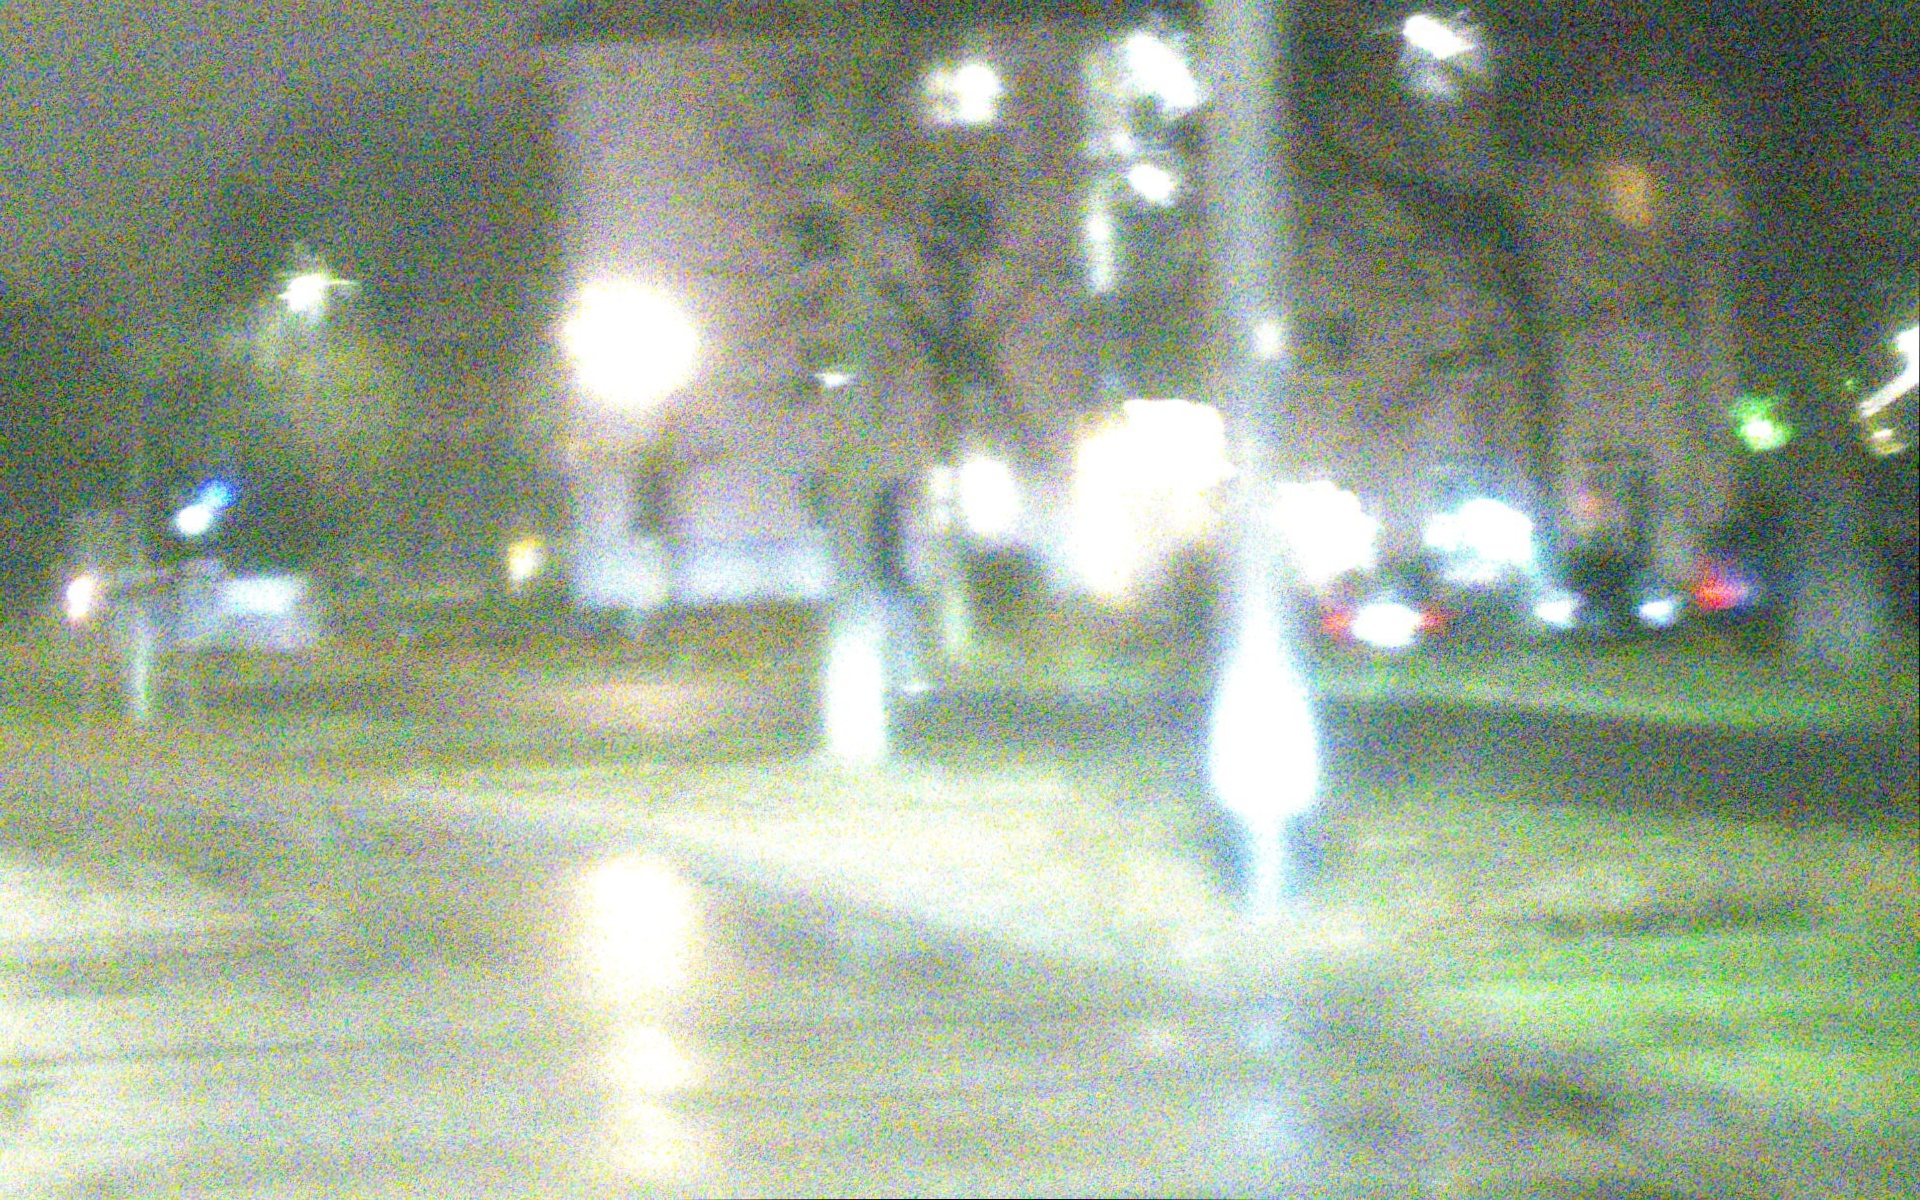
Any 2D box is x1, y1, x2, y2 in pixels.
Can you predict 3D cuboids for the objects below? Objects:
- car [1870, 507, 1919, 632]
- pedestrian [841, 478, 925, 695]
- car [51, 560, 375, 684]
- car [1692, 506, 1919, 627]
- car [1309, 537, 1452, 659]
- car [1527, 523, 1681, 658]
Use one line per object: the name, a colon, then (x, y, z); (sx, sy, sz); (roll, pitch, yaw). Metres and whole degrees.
car: (12.378, -0.389, 42.577); (1.717, 1.491, 3.910); (0, 1, 8)
pedestrian: (-0.683, -0.124, 30.316); (0.652, 1.895, 0.729); (0, 1, -8)
car: (-10.438, 0.286, 48.108); (3.990, 1.678, 1.917); (0, 1, 18)
car: (12.402, -0.474, 48.391); (4.056, 1.676, 1.791); (0, 1, 11)
car: (5.419, -0.050, 43.968); (1.717, 1.491, 3.910); (0, 1, 8)
car: (8.018, -0.076, 43.062); (1.717, 1.492, 3.910); (-1, -2, 8)
